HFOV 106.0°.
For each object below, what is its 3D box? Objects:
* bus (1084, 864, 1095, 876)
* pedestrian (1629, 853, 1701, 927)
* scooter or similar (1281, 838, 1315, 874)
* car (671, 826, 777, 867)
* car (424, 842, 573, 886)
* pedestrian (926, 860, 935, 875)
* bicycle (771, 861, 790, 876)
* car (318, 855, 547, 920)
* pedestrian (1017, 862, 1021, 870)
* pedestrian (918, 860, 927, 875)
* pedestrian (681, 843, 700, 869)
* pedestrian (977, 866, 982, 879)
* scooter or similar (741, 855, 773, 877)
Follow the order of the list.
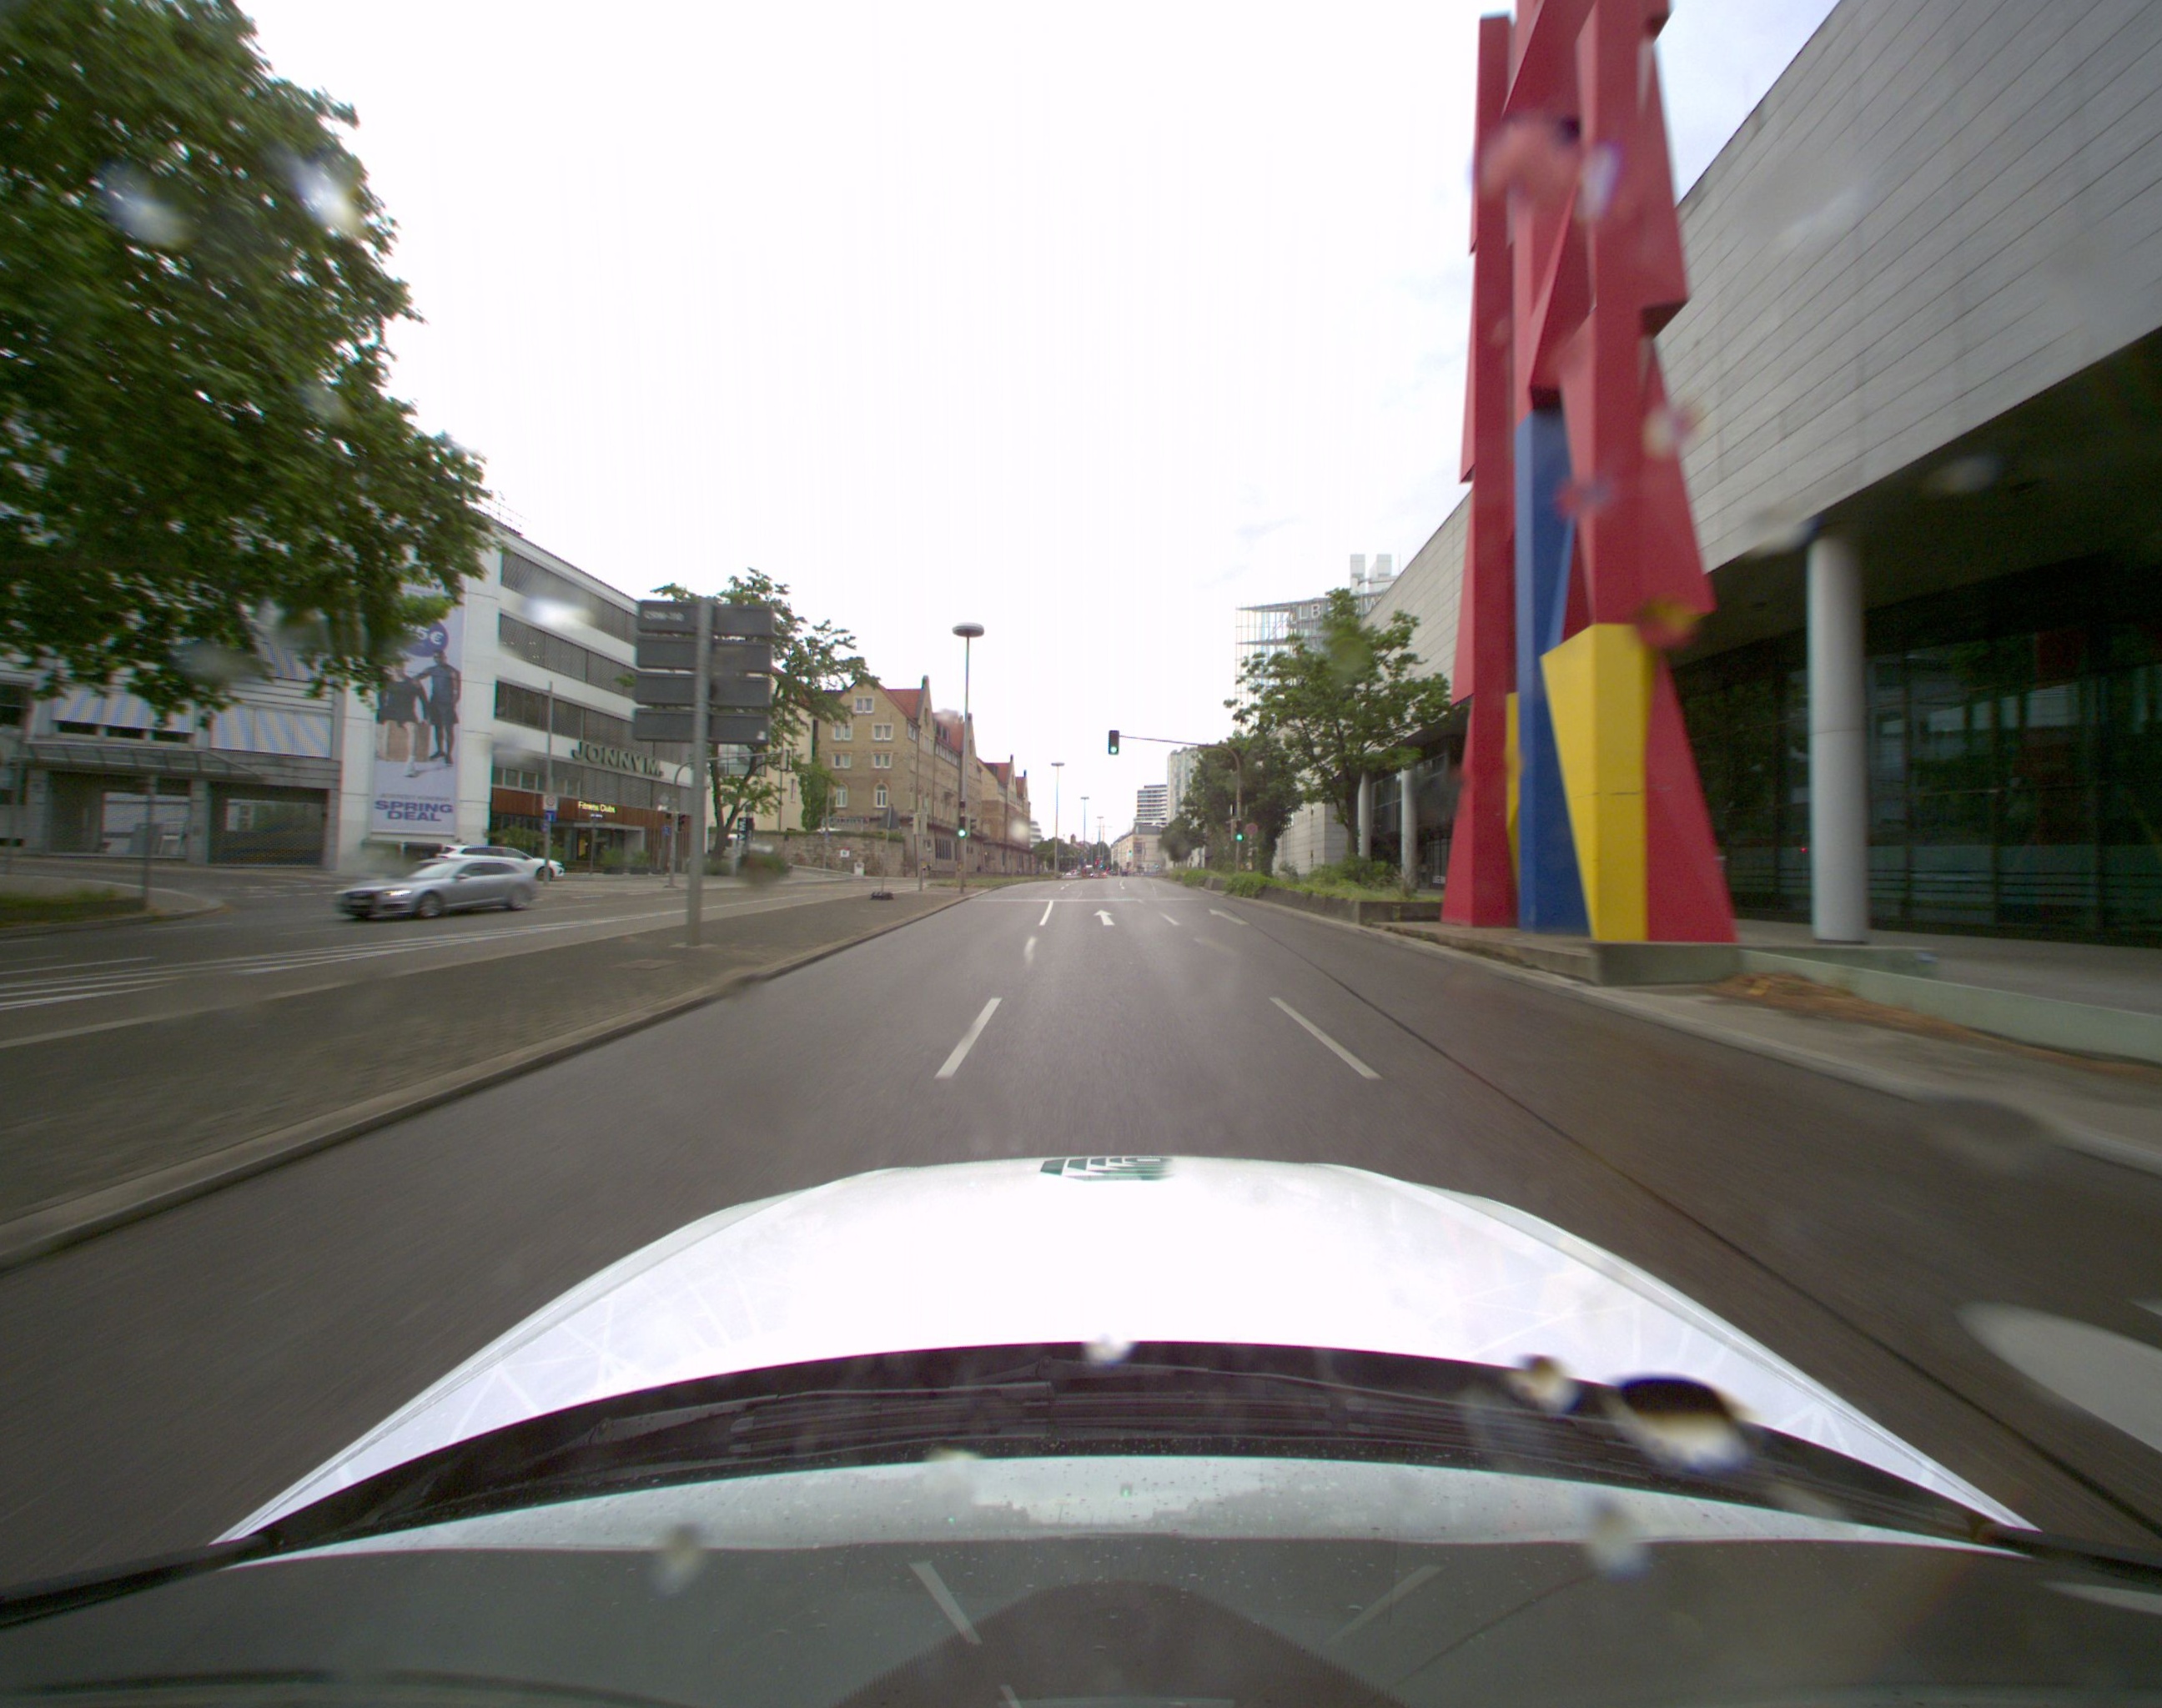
[{"bbox_3d":[2.612,4.882,245.865,2.686,3.560,10.102,-1,-2,4],"label":"bus"},{"bbox_3d":[12.923,0.772,18.042,0.967,1.586,0.842,-1,0,0],"label":"pedestrian"},{"bbox_3d":[9.290,0.093,34.932,1.316,1.531,0.503,1,0,5],"label":"scooter or similar"},{"bbox_3d":[-27.444,-0.596,62.776,6.871,2.275,2.518,7,3,4],"label":"car"},{"bbox_3d":[-25.208,0.455,35.374,1.975,1.654,4.872,1,-2,42],"label":"car"},{"bbox_3d":[-15.501,1.402,84.018,0.751,1.478,0.715,-1,0,3],"label":"pedestrian"},{"bbox_3d":[-20.092,0.974,54.476,0.454,0.991,1.760,1,-1,4],"label":"bicycle"},{"bbox_3d":[-16.186,0.755,20.748,1.988,1.447,4.878,-1,0,-1],"label":"car"},{"bbox_3d":[-11.280,2.119,148.170,0.751,1.478,0.715,-1,0,3],"label":"pedestrian"},{"bbox_3d":[-16.332,1.382,84.080,0.751,1.478,0.715,-1,0,3],"label":"pedestrian"},{"bbox_3d":[-24.898,0.154,51.889,0.765,1.641,0.842,-1,0,3],"label":"pedestrian"},{"bbox_3d":[-13.681,2.441,109.801,0.638,1.746,0.621,-1,0,2],"label":"pedestrian"},{"bbox_3d":[-20.042,0.741,50.361,1.758,1.247,0.367,4,-2,-26],"label":"scooter or similar"}]
